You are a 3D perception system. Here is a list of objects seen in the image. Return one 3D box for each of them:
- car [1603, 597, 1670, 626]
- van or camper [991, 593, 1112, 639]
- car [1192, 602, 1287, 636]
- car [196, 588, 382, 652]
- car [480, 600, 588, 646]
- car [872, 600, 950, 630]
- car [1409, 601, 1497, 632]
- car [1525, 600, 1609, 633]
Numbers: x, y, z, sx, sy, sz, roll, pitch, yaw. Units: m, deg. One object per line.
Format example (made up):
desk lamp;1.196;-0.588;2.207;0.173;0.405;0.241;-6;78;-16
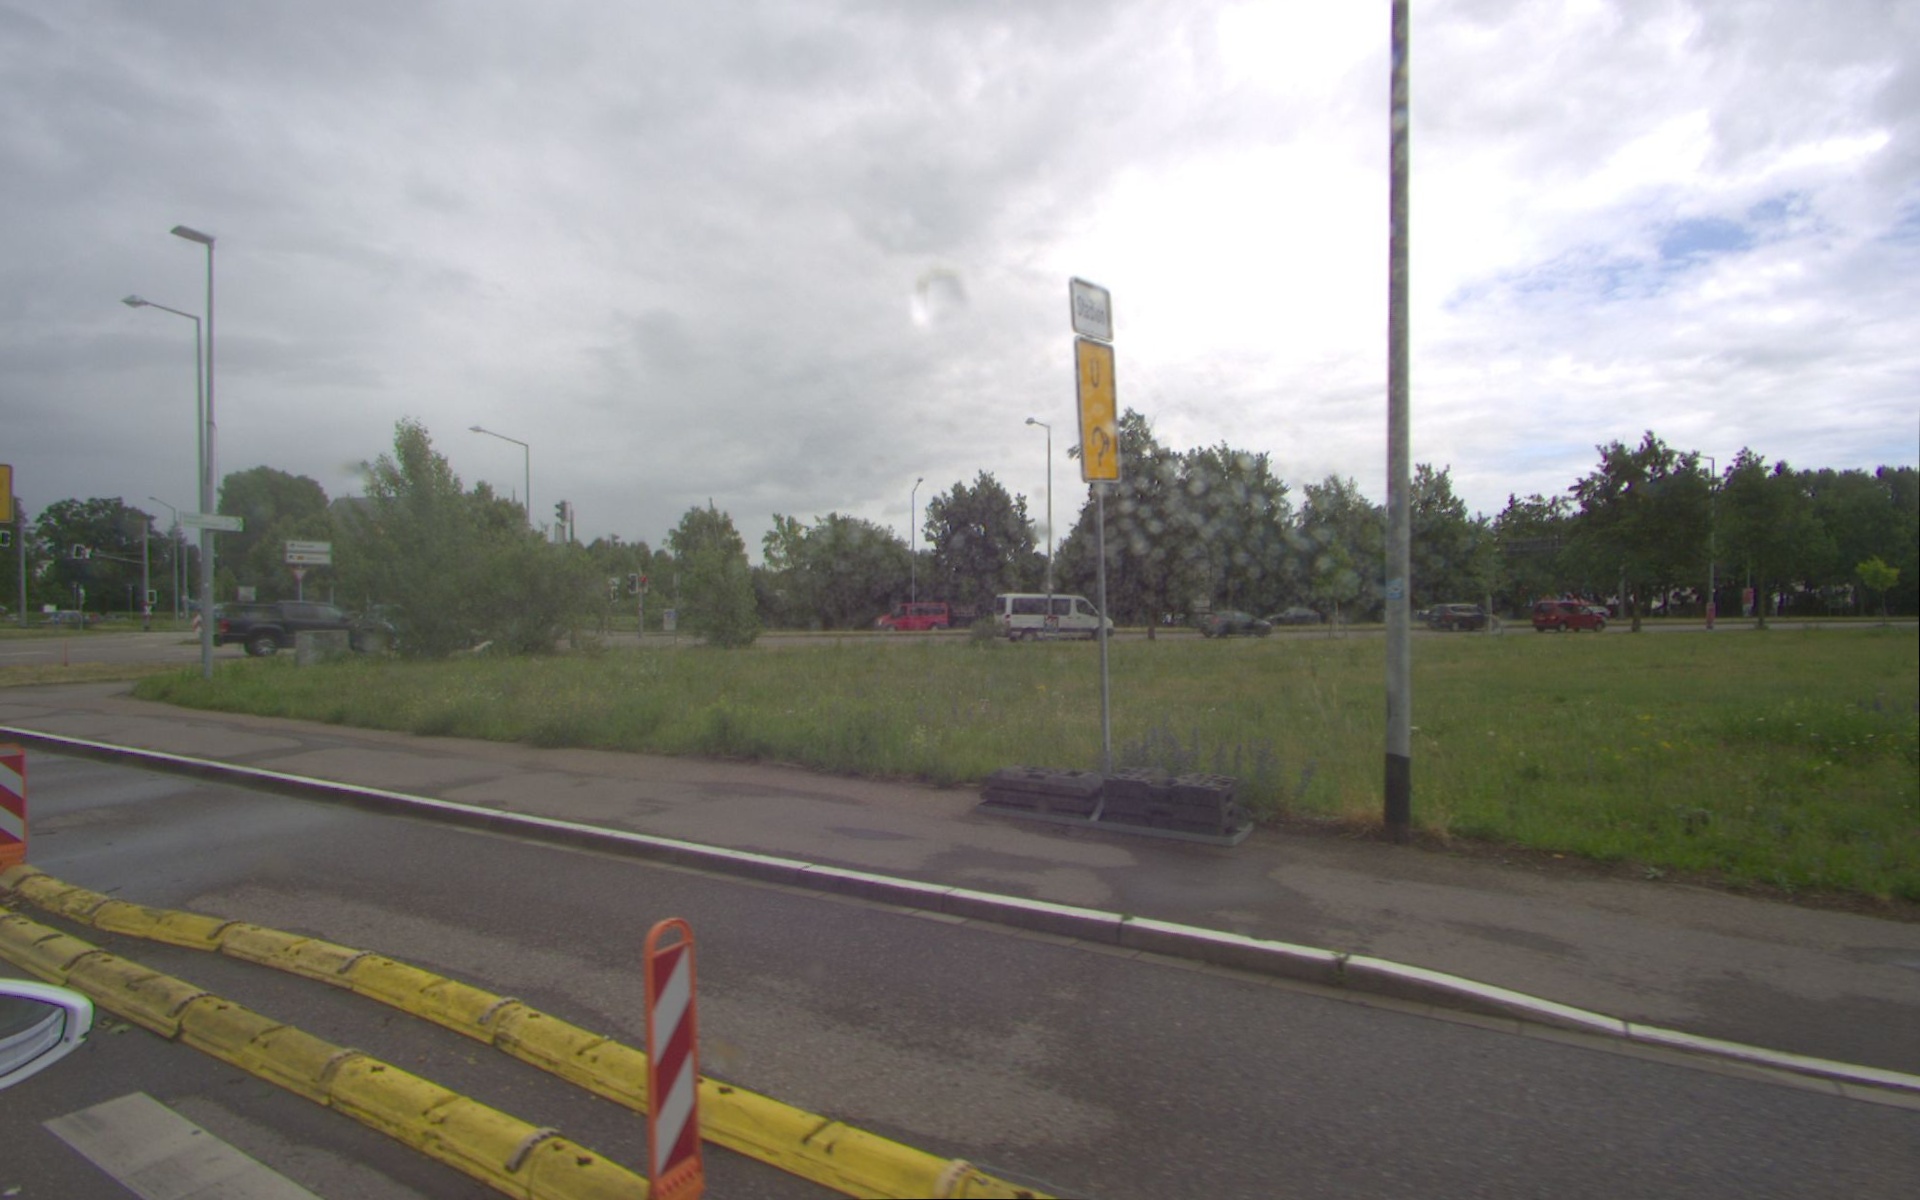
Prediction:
car;48.640;0.793;71.985;3.930;2.040;1.996;0;0;-17
van or camper;4.360;0.734;47.813;5.453;2.143;1.996;0;0;-16
car;15.122;1.010;54.260;4.522;1.819;2.113;0;0;-11
car;-22.552;0.629;33.779;4.989;1.998;2.203;0;0;-42
car;-18.010;0.943;42.497;3.927;1.873;1.997;0;0;-14
car;-3.259;0.952;65.916;4.802;1.943;2.112;0;0;-15
car;30.056;0.977;61.117;4.525;1.819;2.112;0;0;-15
car;36.190;0.954;59.712;4.135;1.943;2.111;0;0;-18
